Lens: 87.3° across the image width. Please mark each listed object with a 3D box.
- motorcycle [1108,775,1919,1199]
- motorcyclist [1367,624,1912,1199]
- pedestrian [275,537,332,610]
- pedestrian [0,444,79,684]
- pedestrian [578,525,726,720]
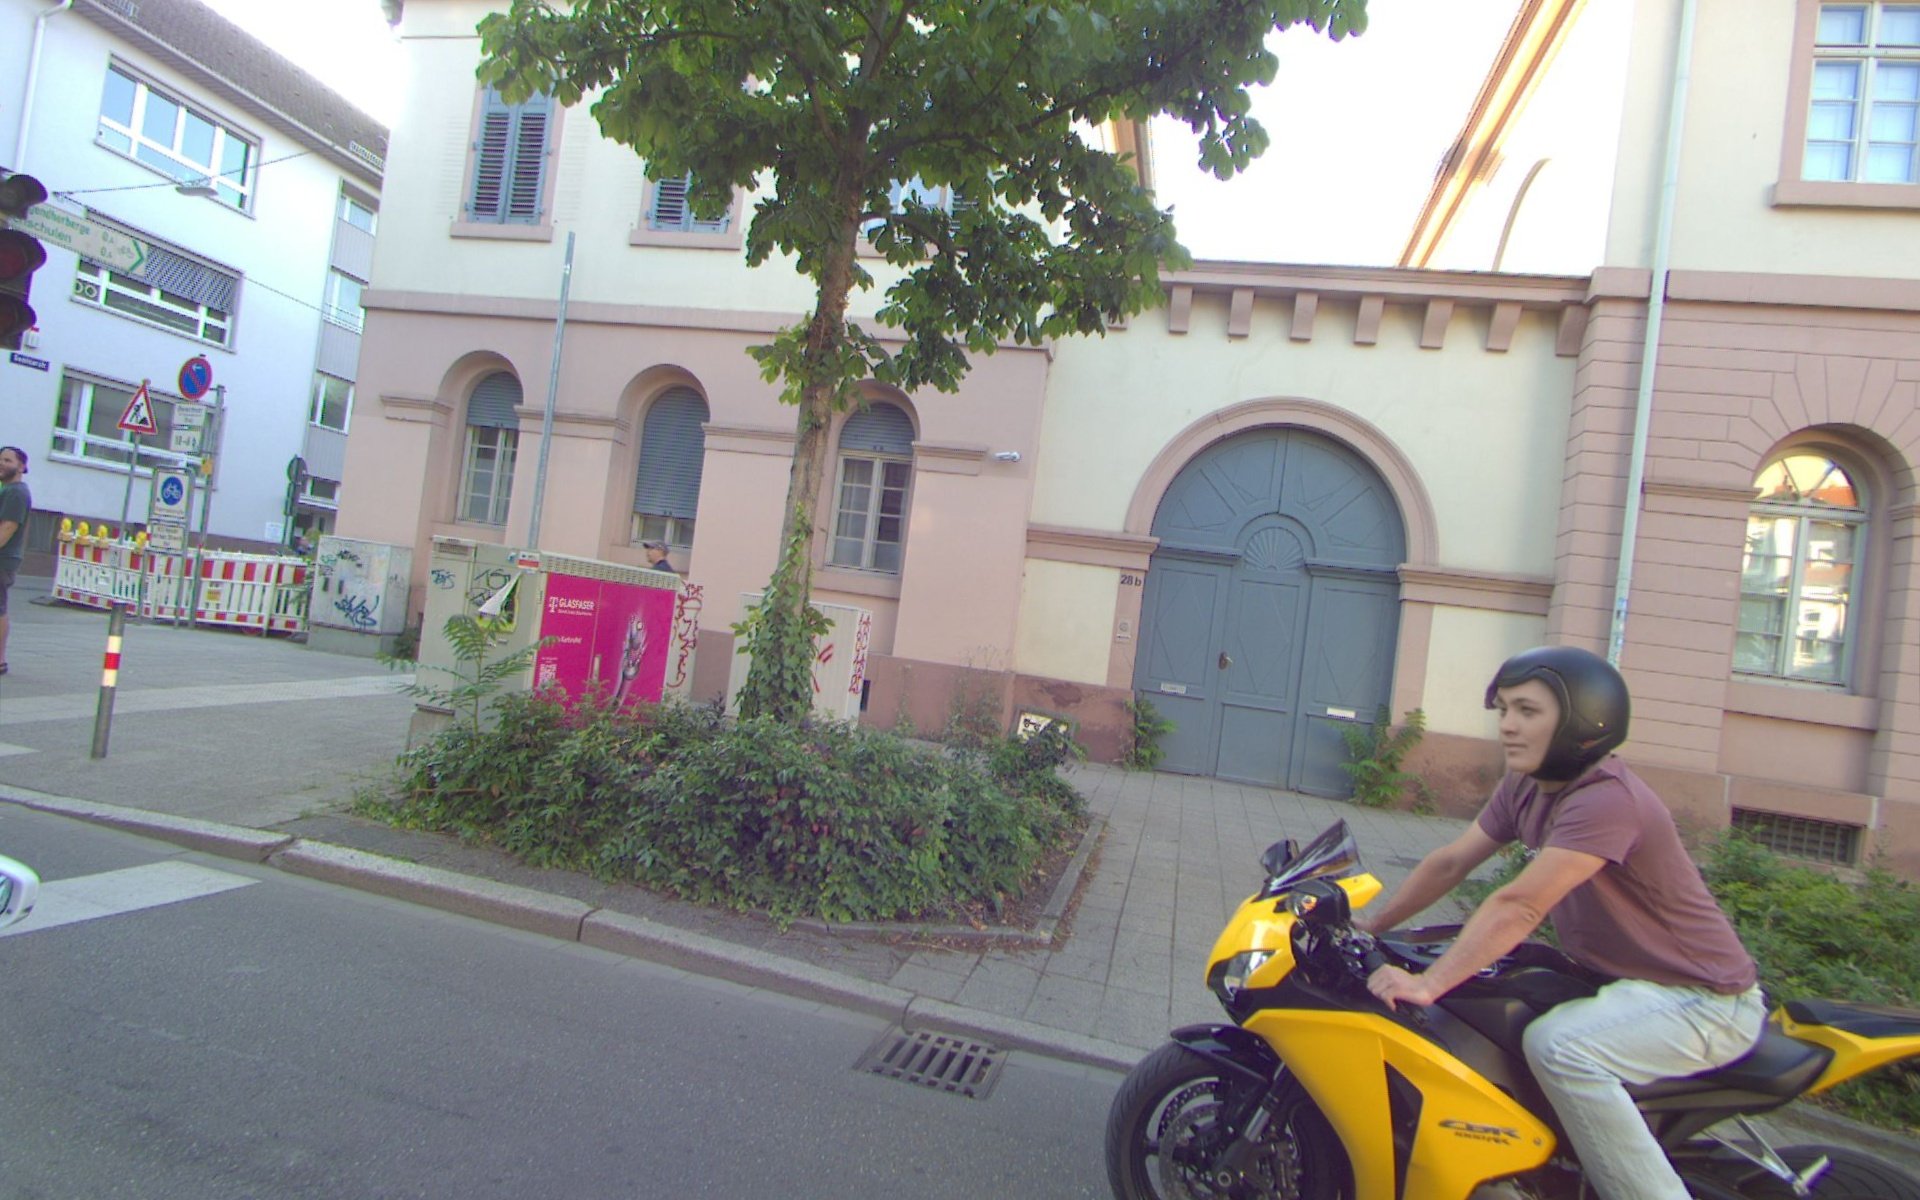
[{"bbox_3d":[1.389,1.191,2.404,1.929,1.173,0.795,7,-2,10],"label":"motorcycle"},{"bbox_3d":[1.504,0.838,2.397,0.685,1.436,0.795,7,-2,10],"label":"motorcyclist"},{"bbox_3d":[-14.385,-0.570,22.055,0.552,1.484,0.741,6,-1,14],"label":"pedestrian"},{"bbox_3d":[-7.775,-0.327,8.061,0.885,1.837,0.784,8,1,-42],"label":"pedestrian"},{"bbox_3d":[-3.242,0.230,10.649,1.062,1.862,0.801,7,2,12],"label":"pedestrian"}]
